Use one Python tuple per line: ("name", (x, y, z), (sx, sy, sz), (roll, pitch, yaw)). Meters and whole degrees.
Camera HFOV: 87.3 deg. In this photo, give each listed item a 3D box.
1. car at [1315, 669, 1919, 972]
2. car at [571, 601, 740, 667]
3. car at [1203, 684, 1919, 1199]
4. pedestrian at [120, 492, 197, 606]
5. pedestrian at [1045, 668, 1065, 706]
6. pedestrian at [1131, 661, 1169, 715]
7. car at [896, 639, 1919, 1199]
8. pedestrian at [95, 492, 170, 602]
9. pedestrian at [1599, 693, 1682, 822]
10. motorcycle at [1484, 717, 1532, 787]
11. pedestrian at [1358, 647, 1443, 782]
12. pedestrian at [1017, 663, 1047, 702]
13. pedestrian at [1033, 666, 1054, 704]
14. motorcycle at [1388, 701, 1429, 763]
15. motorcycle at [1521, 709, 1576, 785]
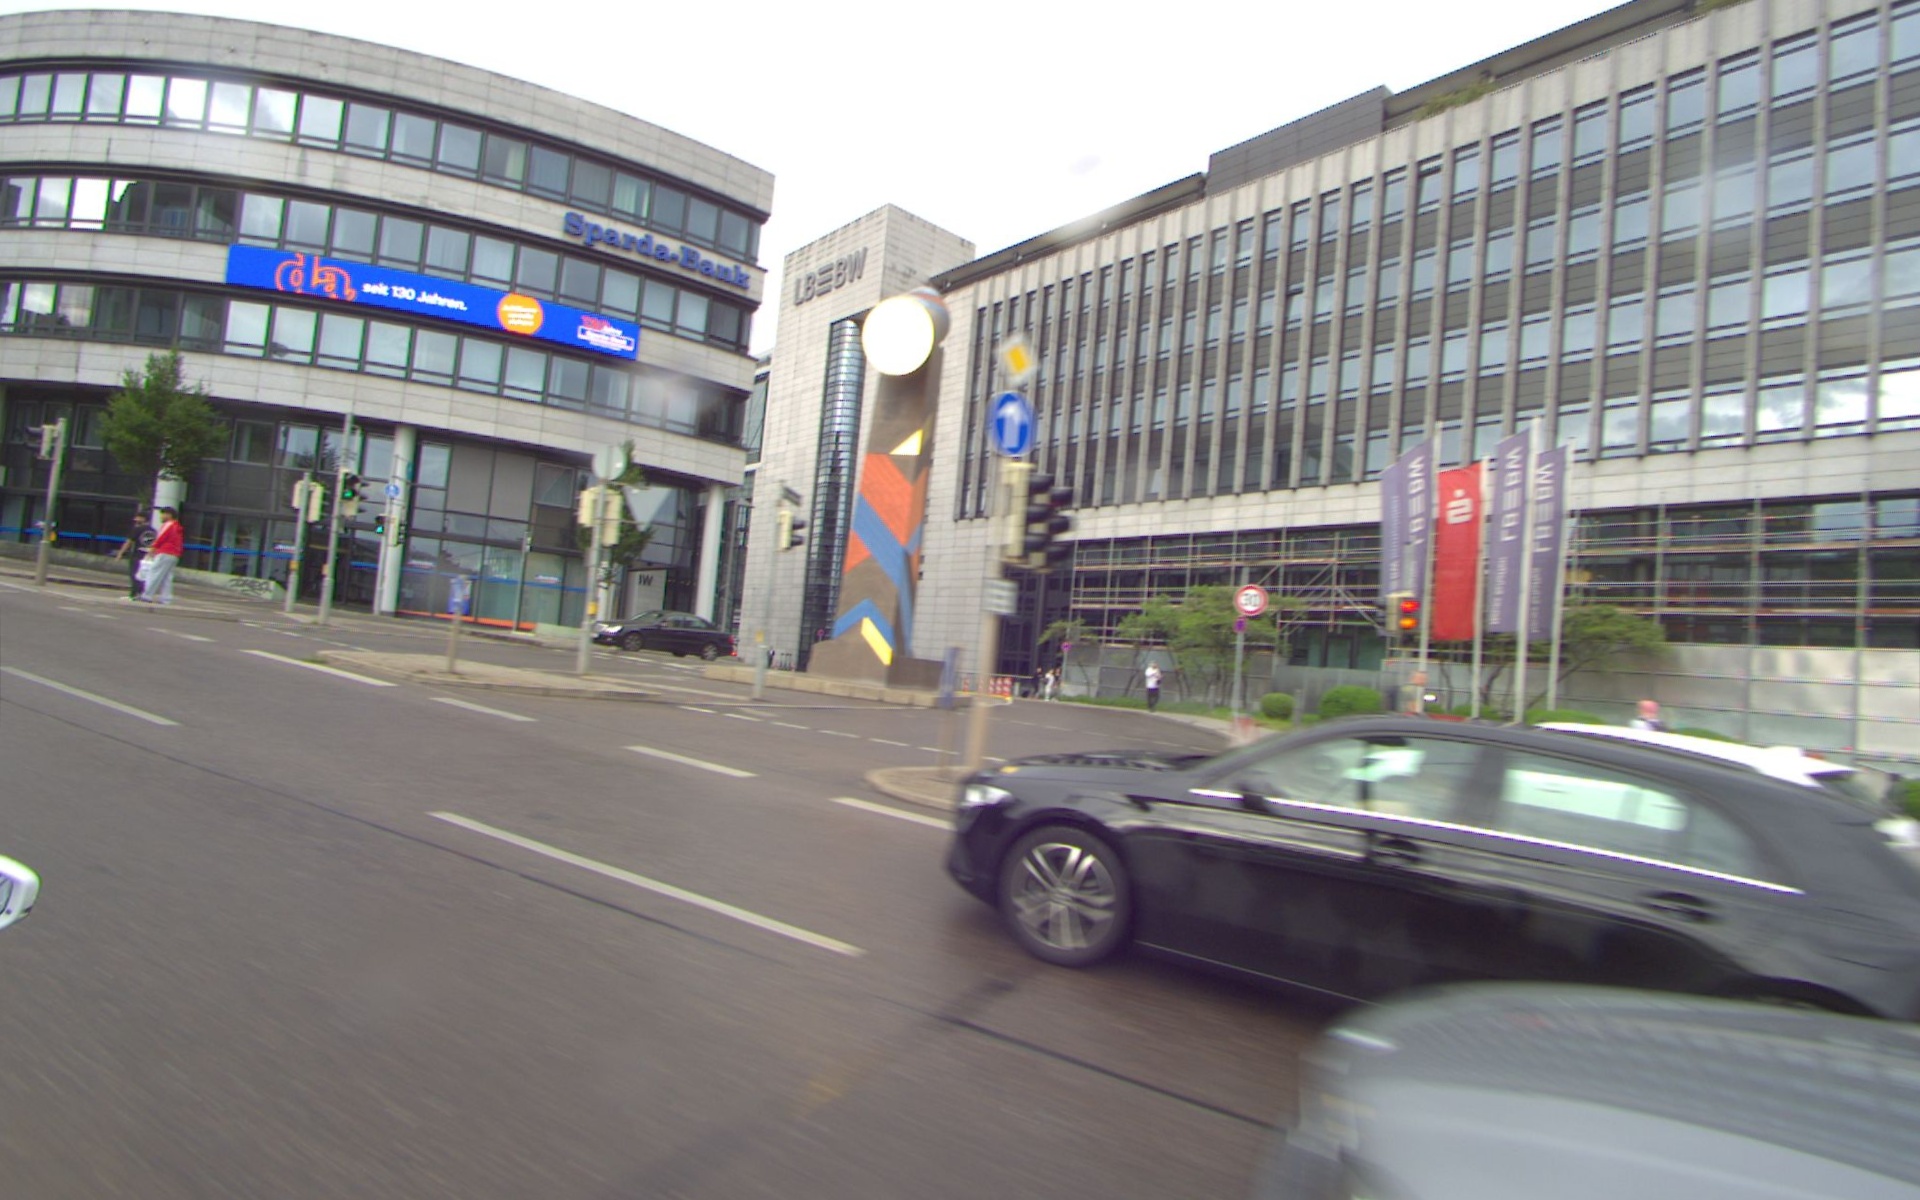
("car", (5.910, 1.781, 9.360), (1.765, 1.652, 4.531), (9, -3, -40))
("car", (-9.370, 1.083, 31.277), (1.842, 1.457, 4.698), (3, -5, 41))
("car", (2.422, 1.119, 1.169), (3.930, 1.459, 1.745), (6, -3, 27))
("pedestrian", (-14.620, -0.902, 18.377), (0.835, 1.925, 0.854), (8, -3, -34))
("pedestrian", (4.598, 4.212, 48.711), (0.557, 1.765, 0.548), (9, -2, -34))
("pedestrian", (7.003, 3.237, 37.023), (0.957, 1.838, 0.778), (7, -3, -20))
("car", (1.989, 1.149, 4.773), (4.153, 1.424, 1.759), (5, -2, 27))
("pedestrian", (-15.506, -0.978, 18.876), (0.835, 1.926, 0.725), (8, -2, -35))
("pedestrian", (9.882, 2.269, 14.634), (0.829, 1.730, 0.731), (4, -3, 29))
("motorcycle", (11.371, 3.128, 20.908), (0.609, 1.285, 1.245), (7, -1, 22))
("pedestrian", (7.470, 1.932, 17.118), (0.887, 2.120, 0.857), (8, -3, 7))
("pedestrian", (3.658, 4.186, 51.059), (0.936, 1.765, 0.896), (10, -2, -34))
("pedestrian", (4.039, 4.090, 48.407), (0.557, 1.765, 0.548), (9, -2, -34))
("motorcycle", (10.045, 2.926, 22.582), (0.623, 1.094, 2.570), (7, 0, 22))
("motorcycle", (12.087, 2.990, 20.695), (0.595, 1.370, 1.730), (7, -1, 22))
